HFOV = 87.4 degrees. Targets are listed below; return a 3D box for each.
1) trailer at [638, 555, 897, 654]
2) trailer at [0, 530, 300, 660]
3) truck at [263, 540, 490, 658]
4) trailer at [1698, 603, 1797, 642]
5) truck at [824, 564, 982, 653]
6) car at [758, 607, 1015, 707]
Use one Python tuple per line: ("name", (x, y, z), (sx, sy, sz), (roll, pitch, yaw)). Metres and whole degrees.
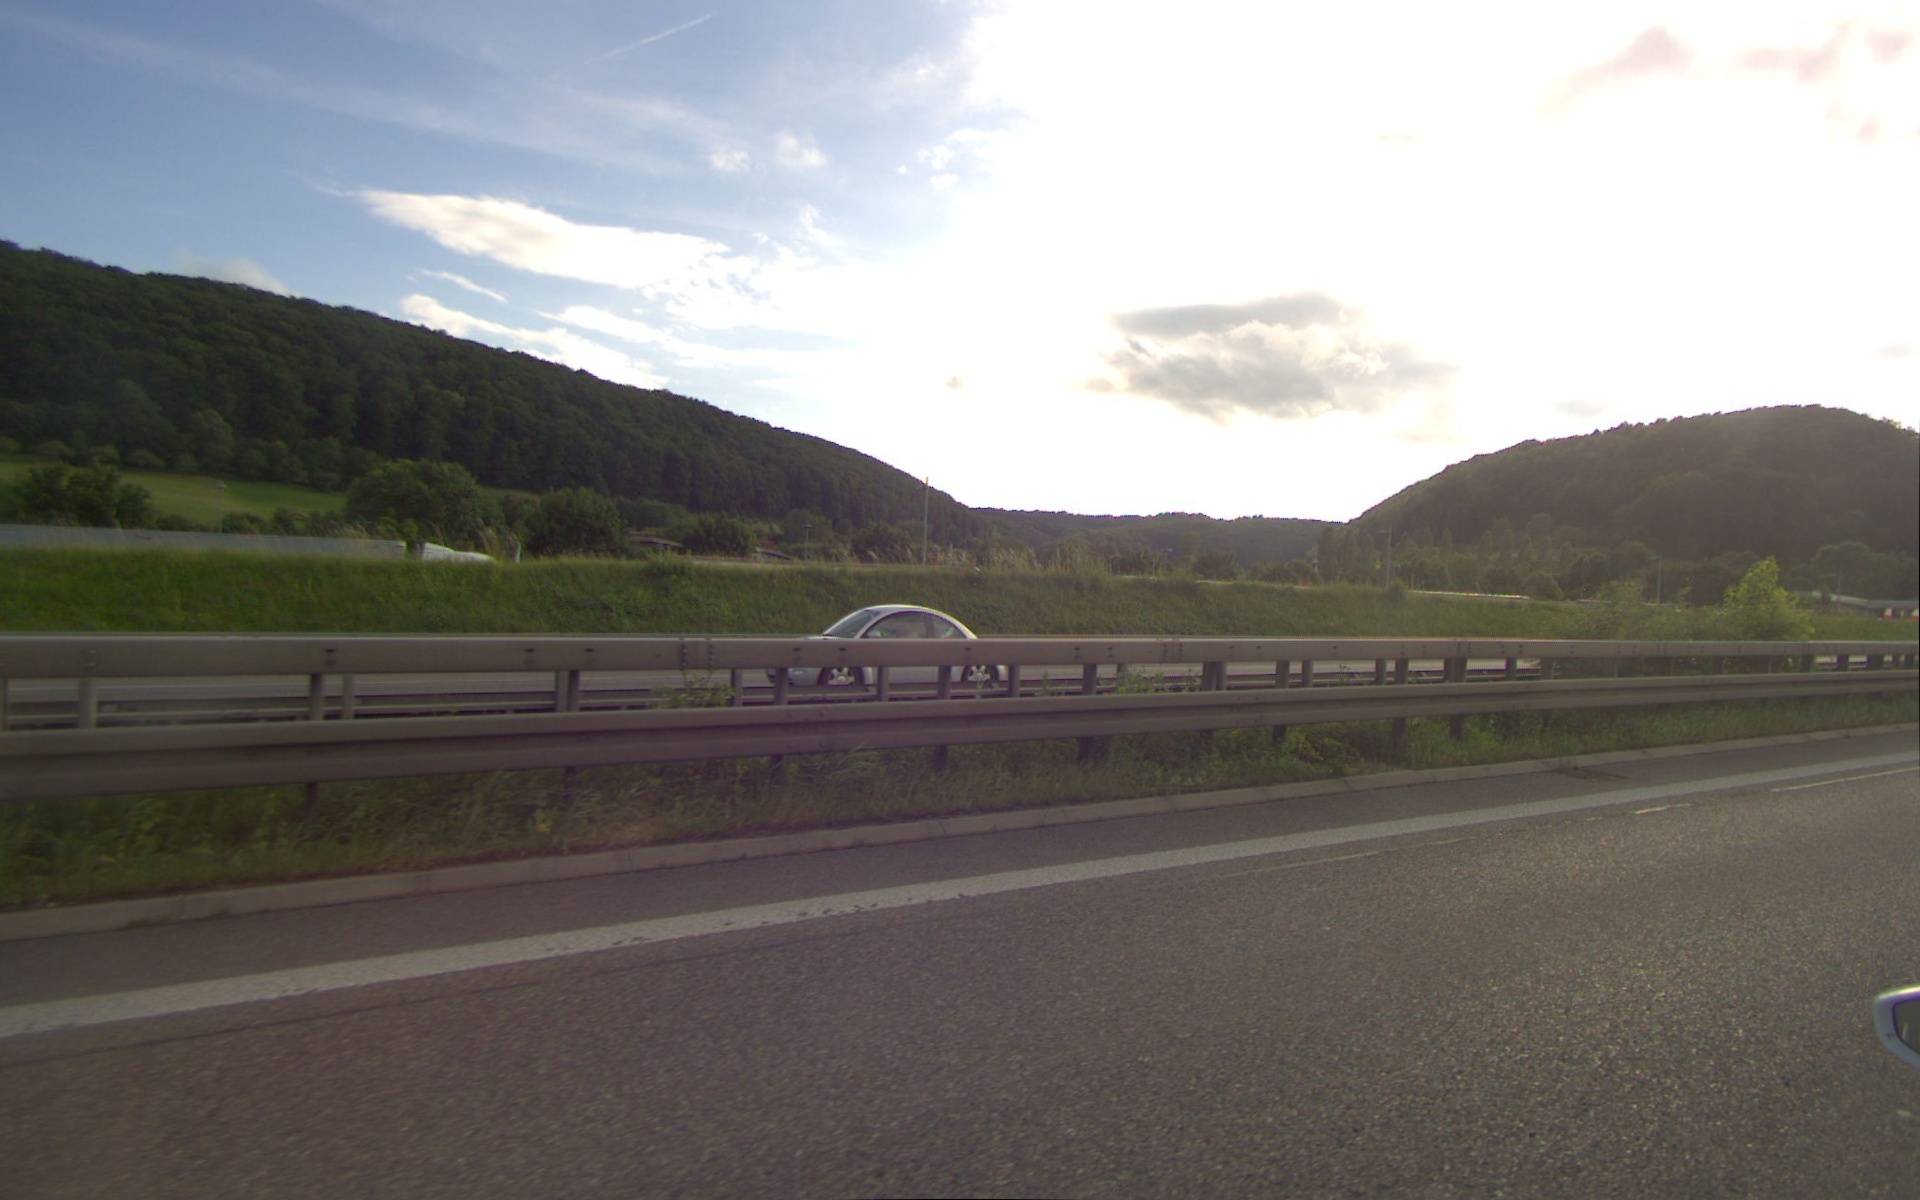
("trailer", (-7.857, 0.324, 41.885), (10.250, 3.745, 2.864), (1, -2, -30))
("trailer", (-26.696, -0.076, 31.047), (10.250, 3.745, 2.864), (1, -2, -30))
("truck", (-20.087, 0.071, 34.915), (6.514, 3.739, 2.868), (1, -2, -30))
("trailer", (67.501, 1.940, 85.977), (11.245, 2.891, 2.567), (3, -1, -30))
("truck", (-2.506, 0.459, 44.989), (6.514, 3.739, 2.868), (1, -2, -30))
("car", (-1.201, 0.916, 16.694), (3.827, 1.467, 1.942), (1, -3, -30))
